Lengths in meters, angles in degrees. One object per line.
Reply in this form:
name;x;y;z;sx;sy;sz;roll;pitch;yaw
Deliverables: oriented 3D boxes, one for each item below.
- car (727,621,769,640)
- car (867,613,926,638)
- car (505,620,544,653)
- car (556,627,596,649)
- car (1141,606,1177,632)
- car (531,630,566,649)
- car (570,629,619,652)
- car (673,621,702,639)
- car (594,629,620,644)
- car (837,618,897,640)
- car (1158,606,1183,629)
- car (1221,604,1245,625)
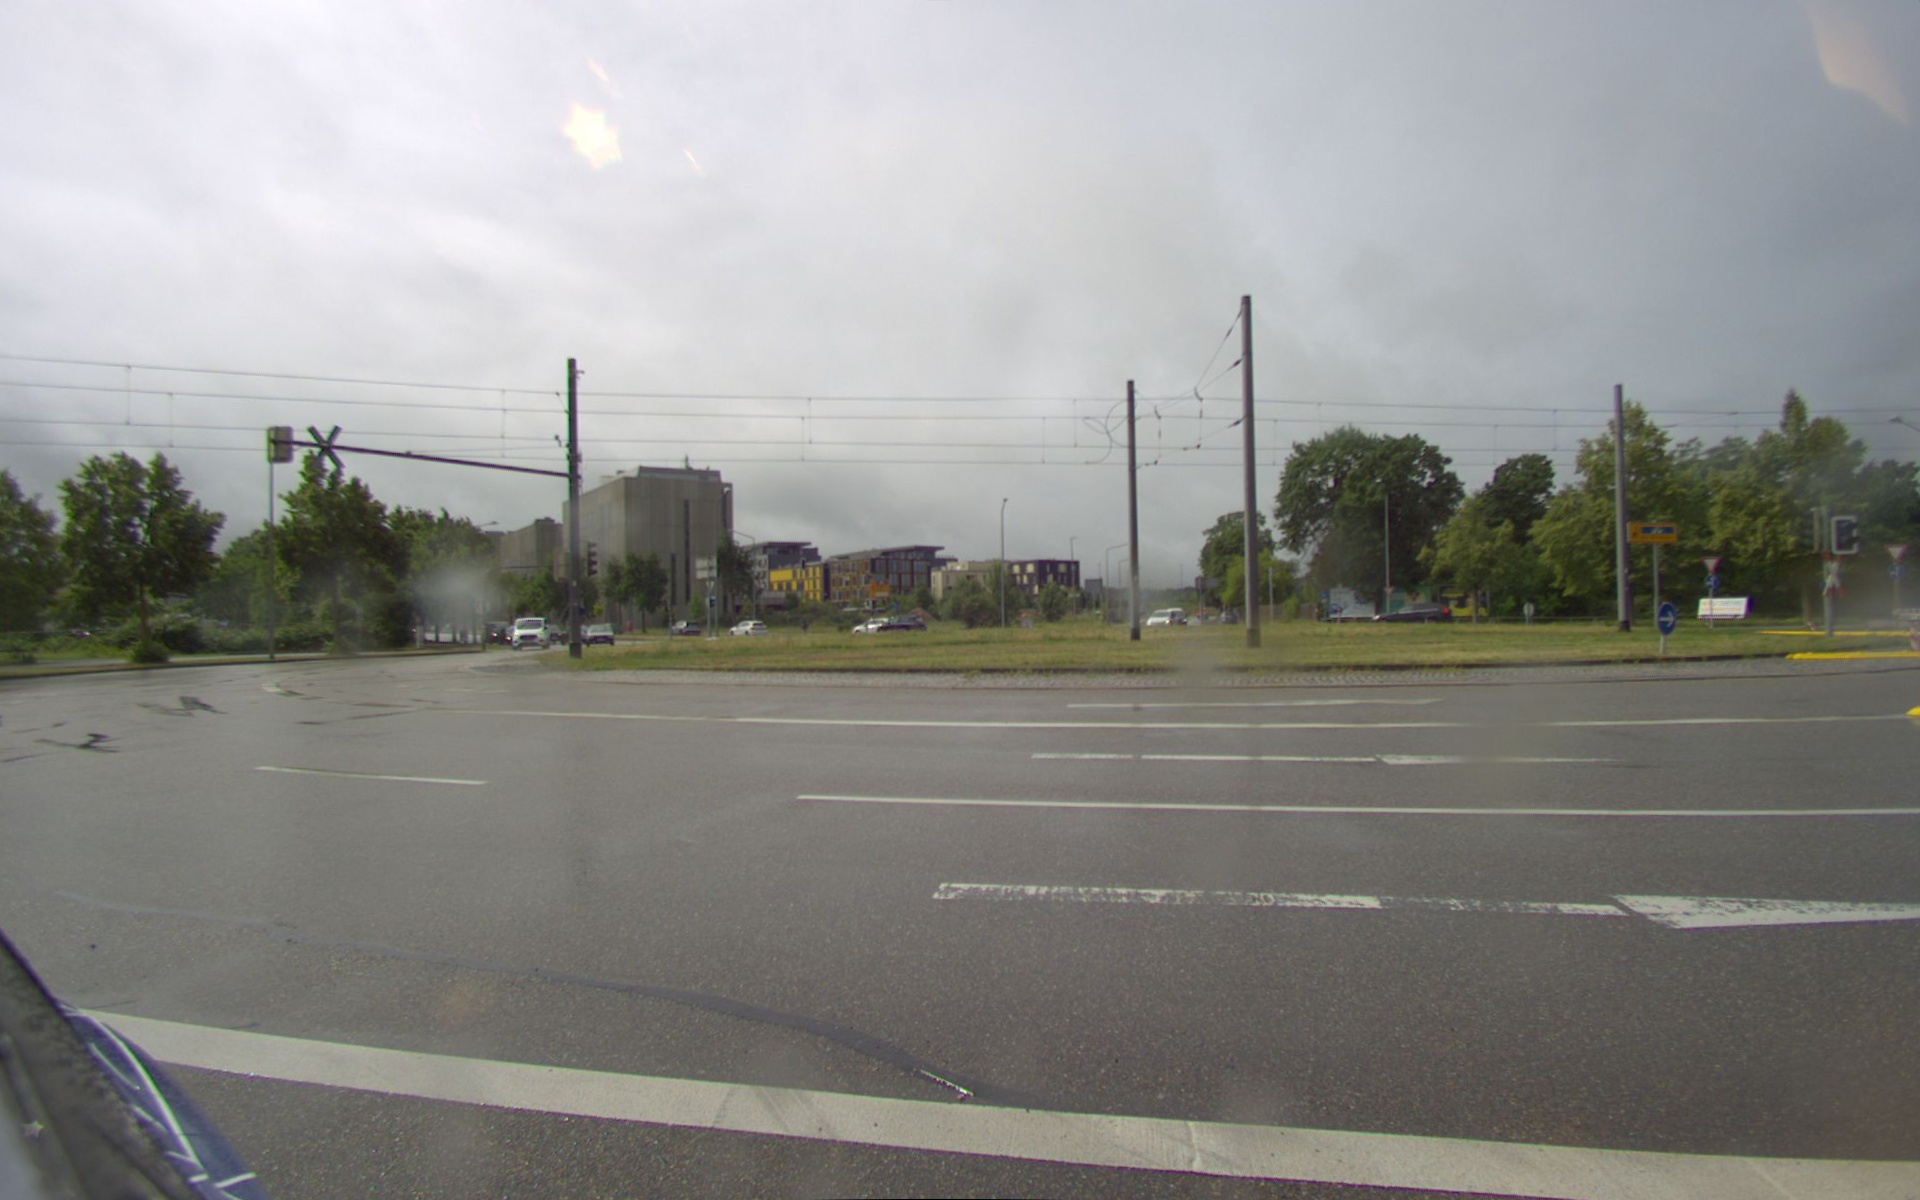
car;-17.768;2.591;84.800;1.700;1.519;3.910;0;-2;-41
car;-4.488;1.812;71.536;3.806;1.684;1.848;-2;-1;29
car;-27.996;2.365;65.193;2.043;2.003;4.815;-1;-2;-20
car;-28.846;2.822;75.930;1.836;1.547;4.500;0;-1;-34
car;14.867;1.419;75.578;1.864;1.829;3.969;-2;-1;23
car;-34.413;3.280;84.613;1.836;1.547;4.500;0;-1;-34
car;-23.435;2.592;64.726;1.836;1.391;4.563;-1;-1;-34
car;-26.360;2.920;97.911;1.843;1.676;4.497;-1;-2;-26
car;-37.465;3.908;107.420;1.706;1.424;4.139;0;-3;-32
car;-7.279;2.242;79.372;4.453;1.685;1.847;0;-1;30
car;17.647;1.471;84.886;1.858;1.829;3.982;-2;-1;14
car;27.817;1.460;103.139;1.979;2.029;3.986;-4;-1;11
